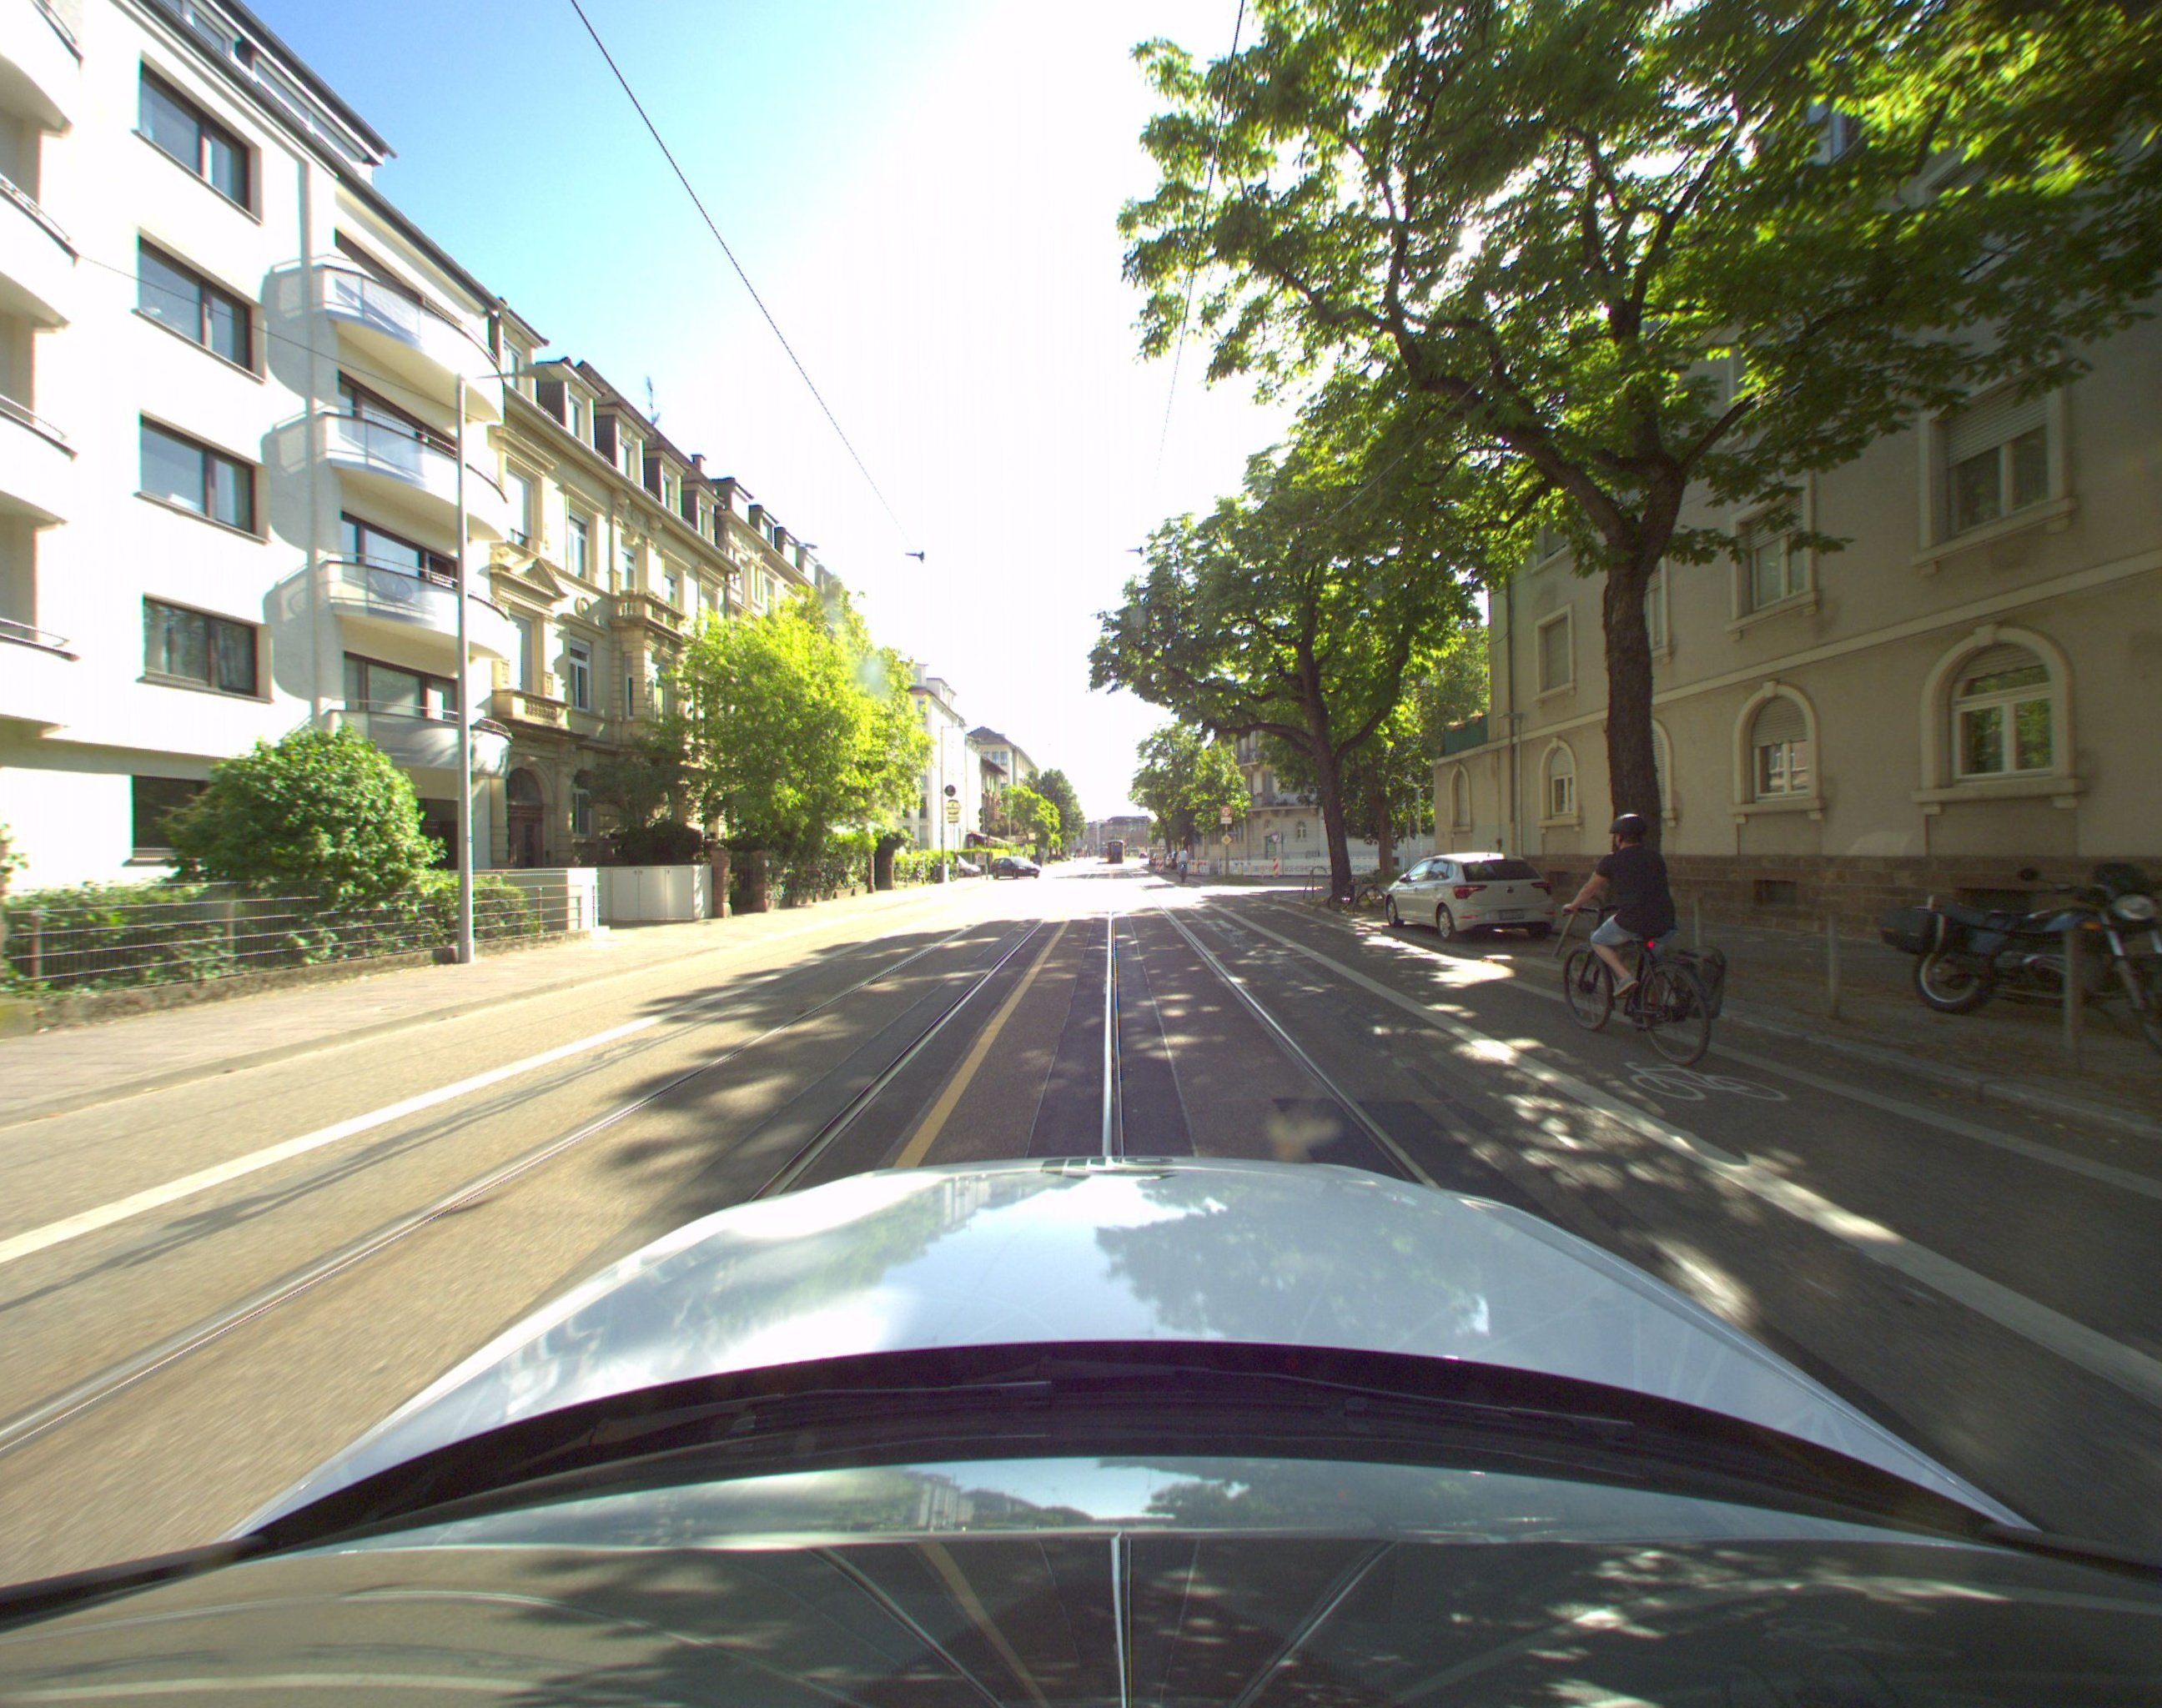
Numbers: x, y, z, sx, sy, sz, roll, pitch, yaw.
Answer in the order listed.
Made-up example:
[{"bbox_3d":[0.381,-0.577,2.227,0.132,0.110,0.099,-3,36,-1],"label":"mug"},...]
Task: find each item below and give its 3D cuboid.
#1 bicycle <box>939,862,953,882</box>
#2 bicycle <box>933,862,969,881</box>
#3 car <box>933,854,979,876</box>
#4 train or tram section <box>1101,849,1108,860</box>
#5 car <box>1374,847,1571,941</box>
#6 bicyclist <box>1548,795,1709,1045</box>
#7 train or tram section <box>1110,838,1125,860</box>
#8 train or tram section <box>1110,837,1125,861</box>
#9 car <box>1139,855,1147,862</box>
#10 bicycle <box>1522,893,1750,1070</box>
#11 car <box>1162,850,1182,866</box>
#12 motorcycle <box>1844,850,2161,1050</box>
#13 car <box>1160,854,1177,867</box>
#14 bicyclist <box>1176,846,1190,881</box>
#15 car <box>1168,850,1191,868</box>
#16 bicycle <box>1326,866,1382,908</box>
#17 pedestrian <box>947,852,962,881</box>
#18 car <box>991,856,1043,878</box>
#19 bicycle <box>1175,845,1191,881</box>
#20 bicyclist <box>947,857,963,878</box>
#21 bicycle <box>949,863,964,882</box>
[{"bbox_3d":[-7.632,0.986,45.894,0.634,1.069,1.822,0,0,-15],"label":"bicycle"},{"bbox_3d":[-8.167,1.073,51.126,2.122,1.171,0.806,0,0,17],"label":"bicycle"},{"bbox_3d":[-9.510,0.807,62.287,3.407,1.640,1.668,0,0,-7],"label":"car"},{"bbox_3d":[7.295,-0.013,256.929,2.145,3.431,6.614,0,0,2],"label":"train or tram section"},{"bbox_3d":[6.941,0.629,14.938,1.742,1.420,4.001,-2,0,1],"label":"car"},{"bbox_3d":[4.290,0.488,6.445,0.725,1.848,0.837,0,0,1],"label":"bicyclist"},{"bbox_3d":[5.697,-0.765,127.660,2.145,3.431,6.614,0,0,2],"label":"train or tram section"},{"bbox_3d":[5.466,-0.722,121.024,2.145,3.431,6.614,0,0,2],"label":"train or tram section"},{"bbox_3d":[14.857,1.066,195.867,1.865,1.662,3.516,0,0,2],"label":"car"},{"bbox_3d":[4.252,0.908,6.418,0.689,1.112,1.719,0,0,2],"label":"bicycle"},{"bbox_3d":[9.060,0.354,81.378,1.747,1.552,3.678,0,0,2],"label":"car"},{"bbox_3d":[7.234,0.607,6.258,0.707,1.243,2.185,-2,0,2],"label":"motorcycle"},{"bbox_3d":[10.480,0.768,97.916,1.747,1.552,3.678,0,0,2],"label":"car"},{"bbox_3d":[5.336,0.501,42.616,0.643,1.796,0.956,0,0,2],"label":"bicyclist"},{"bbox_3d":[8.854,0.448,73.223,1.747,1.552,3.678,0,0,2],"label":"car"},{"bbox_3d":[6.817,0.807,20.381,1.262,1.024,0.706,0,-1,9],"label":"bicycle"},{"bbox_3d":[-7.625,0.762,49.195,0.767,1.712,0.669,0,0,2],"label":"pedestrian"},{"bbox_3d":[-4.273,0.890,54.350,1.768,1.420,3.538,0,-2,-39],"label":"car"},{"bbox_3d":[5.366,0.465,42.933,0.660,1.859,2.262,0,0,3],"label":"bicycle"},{"bbox_3d":[-7.884,0.857,51.073,0.766,1.291,0.737,0,0,18],"label":"bicyclist"},{"bbox_3d":[-7.320,1.071,47.864,0.634,1.069,1.822,0,0,-16],"label":"bicycle"}]
